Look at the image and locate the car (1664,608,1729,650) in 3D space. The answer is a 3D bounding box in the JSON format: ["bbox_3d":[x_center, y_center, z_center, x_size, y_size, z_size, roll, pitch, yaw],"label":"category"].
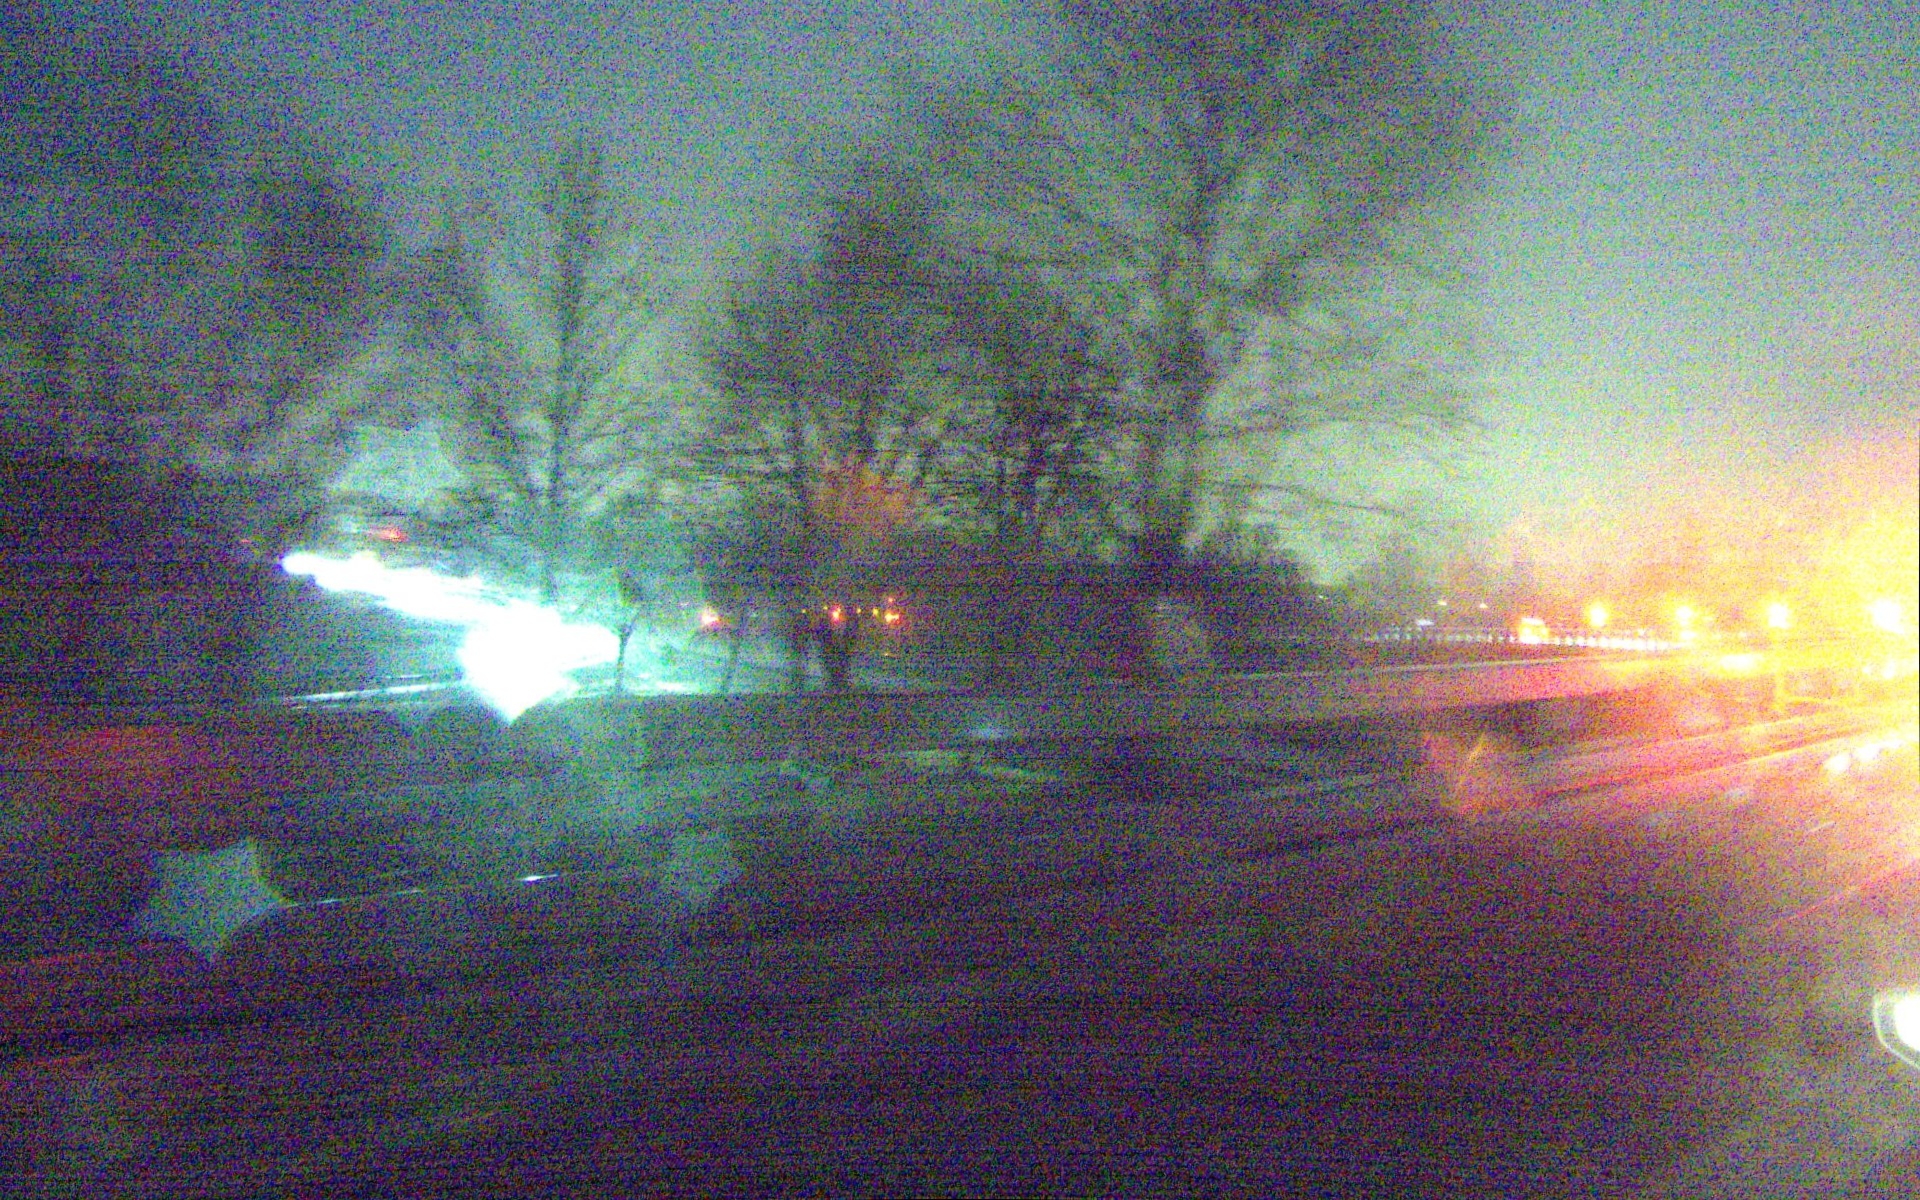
[{"bbox_3d":[36.981,1.457,50.513,1.866,2.024,4.042,-1,-1,26],"label":"car"}]

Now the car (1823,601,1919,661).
[{"bbox_3d":[33.606,1.123,37.007,1.867,2.067,4.040,1,-1,28],"label":"car"}]
